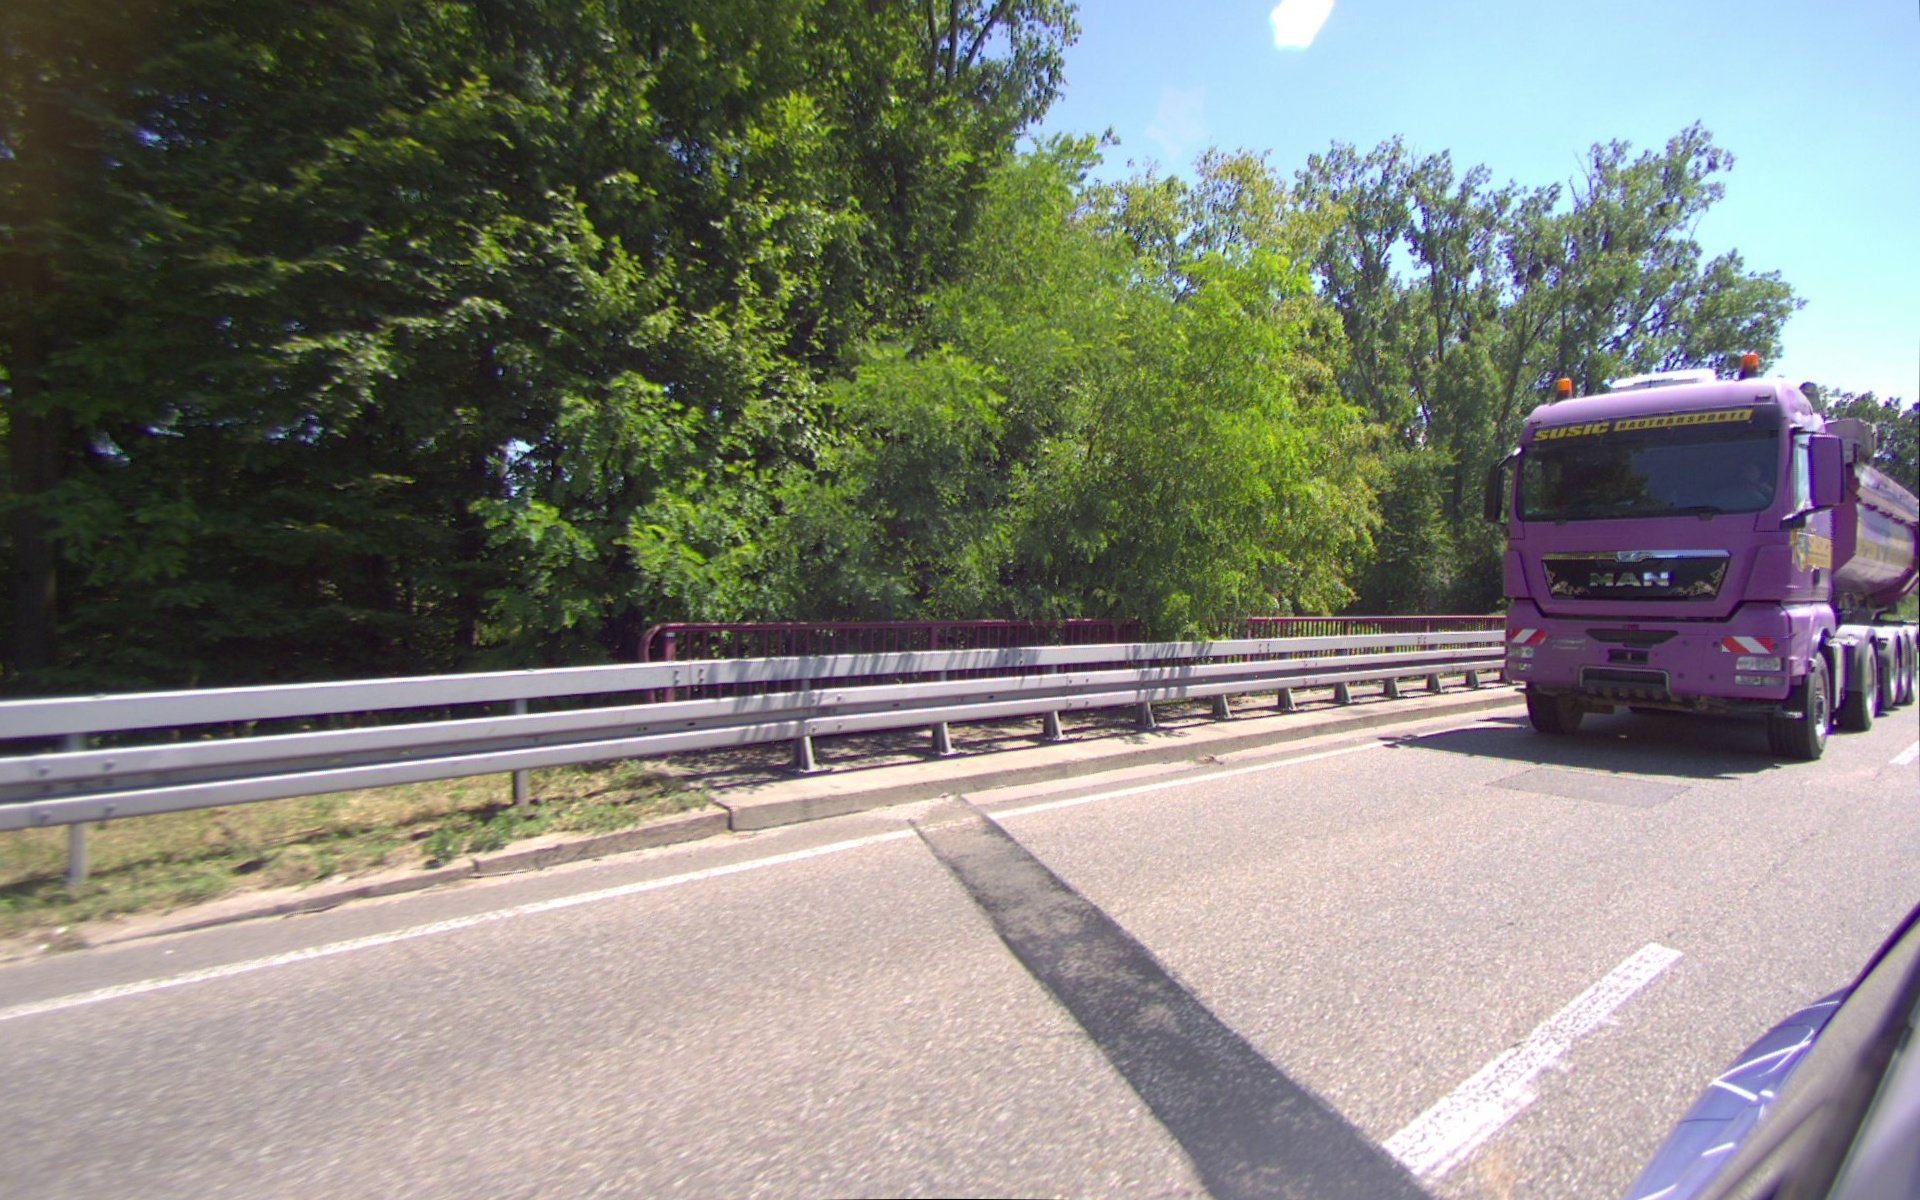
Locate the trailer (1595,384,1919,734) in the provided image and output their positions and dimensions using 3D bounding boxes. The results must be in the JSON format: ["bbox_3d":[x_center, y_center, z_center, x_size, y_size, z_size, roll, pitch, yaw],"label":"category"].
[{"bbox_3d":[11.926,-0.430,14.452,8.464,3.675,2.602,0,0,-42],"label":"trailer"}]

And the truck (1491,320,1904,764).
[{"bbox_3d":[8.541,-0.496,11.454,5.836,3.738,2.602,0,0,-42],"label":"truck"}]
